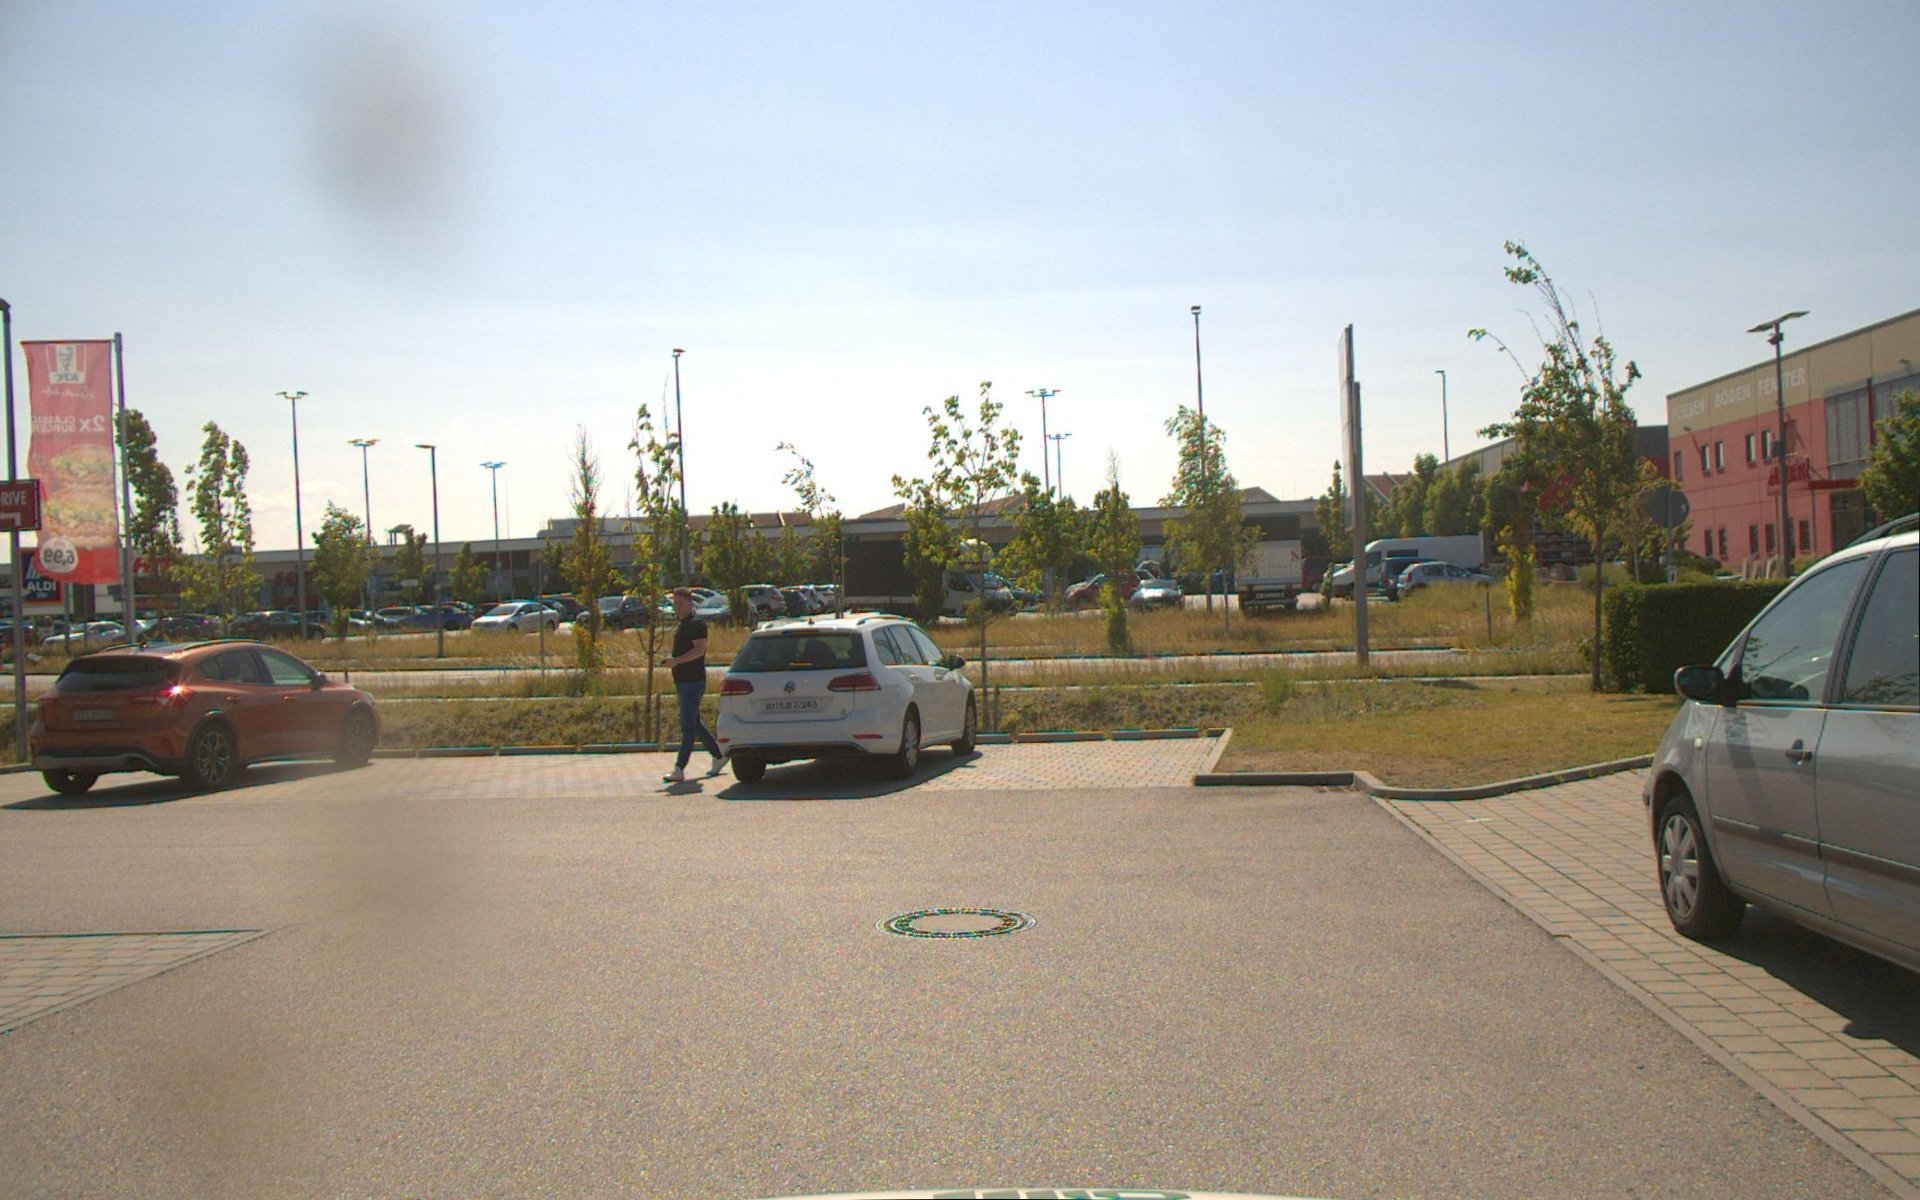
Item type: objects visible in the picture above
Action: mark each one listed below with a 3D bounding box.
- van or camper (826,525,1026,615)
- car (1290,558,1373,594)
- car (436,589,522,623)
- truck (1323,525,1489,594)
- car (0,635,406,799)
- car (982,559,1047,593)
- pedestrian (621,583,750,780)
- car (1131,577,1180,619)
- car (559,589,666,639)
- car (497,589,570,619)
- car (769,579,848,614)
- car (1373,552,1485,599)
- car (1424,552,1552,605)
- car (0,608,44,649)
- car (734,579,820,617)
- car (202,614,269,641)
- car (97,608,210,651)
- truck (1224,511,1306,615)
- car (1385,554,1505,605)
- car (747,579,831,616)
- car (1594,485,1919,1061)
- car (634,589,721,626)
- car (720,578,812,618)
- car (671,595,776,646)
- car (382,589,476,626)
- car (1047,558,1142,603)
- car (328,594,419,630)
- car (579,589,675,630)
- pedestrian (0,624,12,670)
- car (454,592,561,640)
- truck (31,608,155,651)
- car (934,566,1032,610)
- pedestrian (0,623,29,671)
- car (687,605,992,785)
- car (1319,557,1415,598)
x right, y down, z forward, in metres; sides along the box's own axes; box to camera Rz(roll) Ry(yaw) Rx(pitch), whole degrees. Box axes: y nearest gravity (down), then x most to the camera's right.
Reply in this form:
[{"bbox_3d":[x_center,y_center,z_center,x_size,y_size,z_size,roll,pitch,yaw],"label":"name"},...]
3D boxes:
[{"bbox_3d":[-1.386,-1.099,63.276,7.899,3.156,2.409,-1,0,38],"label":"van or camper"},{"bbox_3d":[21.073,-1.346,93.944,4.298,1.888,1.957,-2,0,4],"label":"car"},{"bbox_3d":[-28.721,0.343,98.897,4.462,1.888,1.957,-2,0,4],"label":"car"},{"bbox_3d":[19.988,-1.790,74.337,6.887,2.863,1.957,-2,0,4],"label":"truck"},{"bbox_3d":[-8.077,1.186,18.121,1.788,1.495,4.357,-2,-1,12],"label":"car"},{"bbox_3d":[3.484,-1.528,104.776,3.902,2.049,2.002,-2,0,7],"label":"car"},{"bbox_3d":[-2.676,0.777,16.141,0.985,1.841,0.715,-1,-1,-40],"label":"pedestrian"},{"bbox_3d":[7.340,-0.084,61.805,1.614,1.485,3.970,-2,0,9],"label":"car"},{"bbox_3d":[-14.217,0.545,67.939,1.911,1.888,4.400,-1,0,27],"label":"car"},{"bbox_3d":[-28.777,0.265,111.651,4.298,1.888,1.957,-2,0,4],"label":"car"},{"bbox_3d":[-8.900,-0.206,97.490,4.298,1.888,1.957,-2,0,4],"label":"car"},{"bbox_3d":[20.264,-1.049,71.572,4.298,1.888,1.957,-2,0,4],"label":"car"},{"bbox_3d":[20.311,-0.818,63.756,4.298,1.888,1.957,-2,0,4],"label":"car"},{"bbox_3d":[-49.981,1.498,85.623,1.955,2.049,4.086,-1,0,27],"label":"car"},{"bbox_3d":[-9.860,-0.128,89.214,4.298,1.888,1.957,-2,0,4],"label":"car"},{"bbox_3d":[-45.162,1.722,103.174,3.394,1.579,1.666,-2,0,-1],"label":"car"},{"bbox_3d":[-38.927,1.399,79.941,1.954,1.878,4.730,-1,0,24],"label":"car"},{"bbox_3d":[11.121,-1.307,60.612,2.700,3.541,6.839,-1,0,9],"label":"truck"},{"bbox_3d":[19.485,-0.812,66.558,4.298,1.888,1.957,-2,0,4],"label":"car"},{"bbox_3d":[-9.458,-0.153,91.529,4.298,1.888,1.957,-2,0,4],"label":"car"},{"bbox_3d":[3.874,0.503,5.688,1.789,1.779,4.685,-2,0,4],"label":"car"},{"bbox_3d":[-15.424,0.401,90.388,4.298,1.888,1.957,-2,0,4],"label":"car"},{"bbox_3d":[-9.856,-0.097,84.295,4.298,1.888,1.957,-2,0,4],"label":"car"},{"bbox_3d":[-9.384,0.786,65.972,1.911,1.888,4.400,-1,0,27],"label":"car"},{"bbox_3d":[-29.119,0.404,90.781,4.462,1.888,1.957,-2,0,4],"label":"car"},{"bbox_3d":[6.054,-0.866,74.702,4.164,1.888,1.871,-2,0,4],"label":"car"},{"bbox_3d":[-36.281,0.731,102.326,4.815,2.049,2.082,-2,0,0],"label":"car"},{"bbox_3d":[-16.542,0.481,82.275,4.298,1.888,1.957,-2,0,4],"label":"car"},{"bbox_3d":[-33.703,1.646,57.911,0.652,1.583,0.625,-1,0,30],"label":"pedestrian"},{"bbox_3d":[-19.081,0.670,69.944,1.955,1.888,4.281,-1,0,27],"label":"car"},{"bbox_3d":[-43.231,1.448,82.597,1.953,1.896,5.431,-1,0,24],"label":"truck"},{"bbox_3d":[1.153,-0.625,83.387,4.815,2.049,2.082,-2,0,0],"label":"car"},{"bbox_3d":[-32.931,1.645,57.474,0.740,1.627,0.691,-1,0,30],"label":"pedestrian"},{"bbox_3d":[-1.015,0.848,16.441,1.788,1.495,4.485,-2,-1,12],"label":"car"},{"bbox_3d":[20.043,-1.102,81.616,4.298,1.888,1.957,-2,0,4],"label":"car"}]
